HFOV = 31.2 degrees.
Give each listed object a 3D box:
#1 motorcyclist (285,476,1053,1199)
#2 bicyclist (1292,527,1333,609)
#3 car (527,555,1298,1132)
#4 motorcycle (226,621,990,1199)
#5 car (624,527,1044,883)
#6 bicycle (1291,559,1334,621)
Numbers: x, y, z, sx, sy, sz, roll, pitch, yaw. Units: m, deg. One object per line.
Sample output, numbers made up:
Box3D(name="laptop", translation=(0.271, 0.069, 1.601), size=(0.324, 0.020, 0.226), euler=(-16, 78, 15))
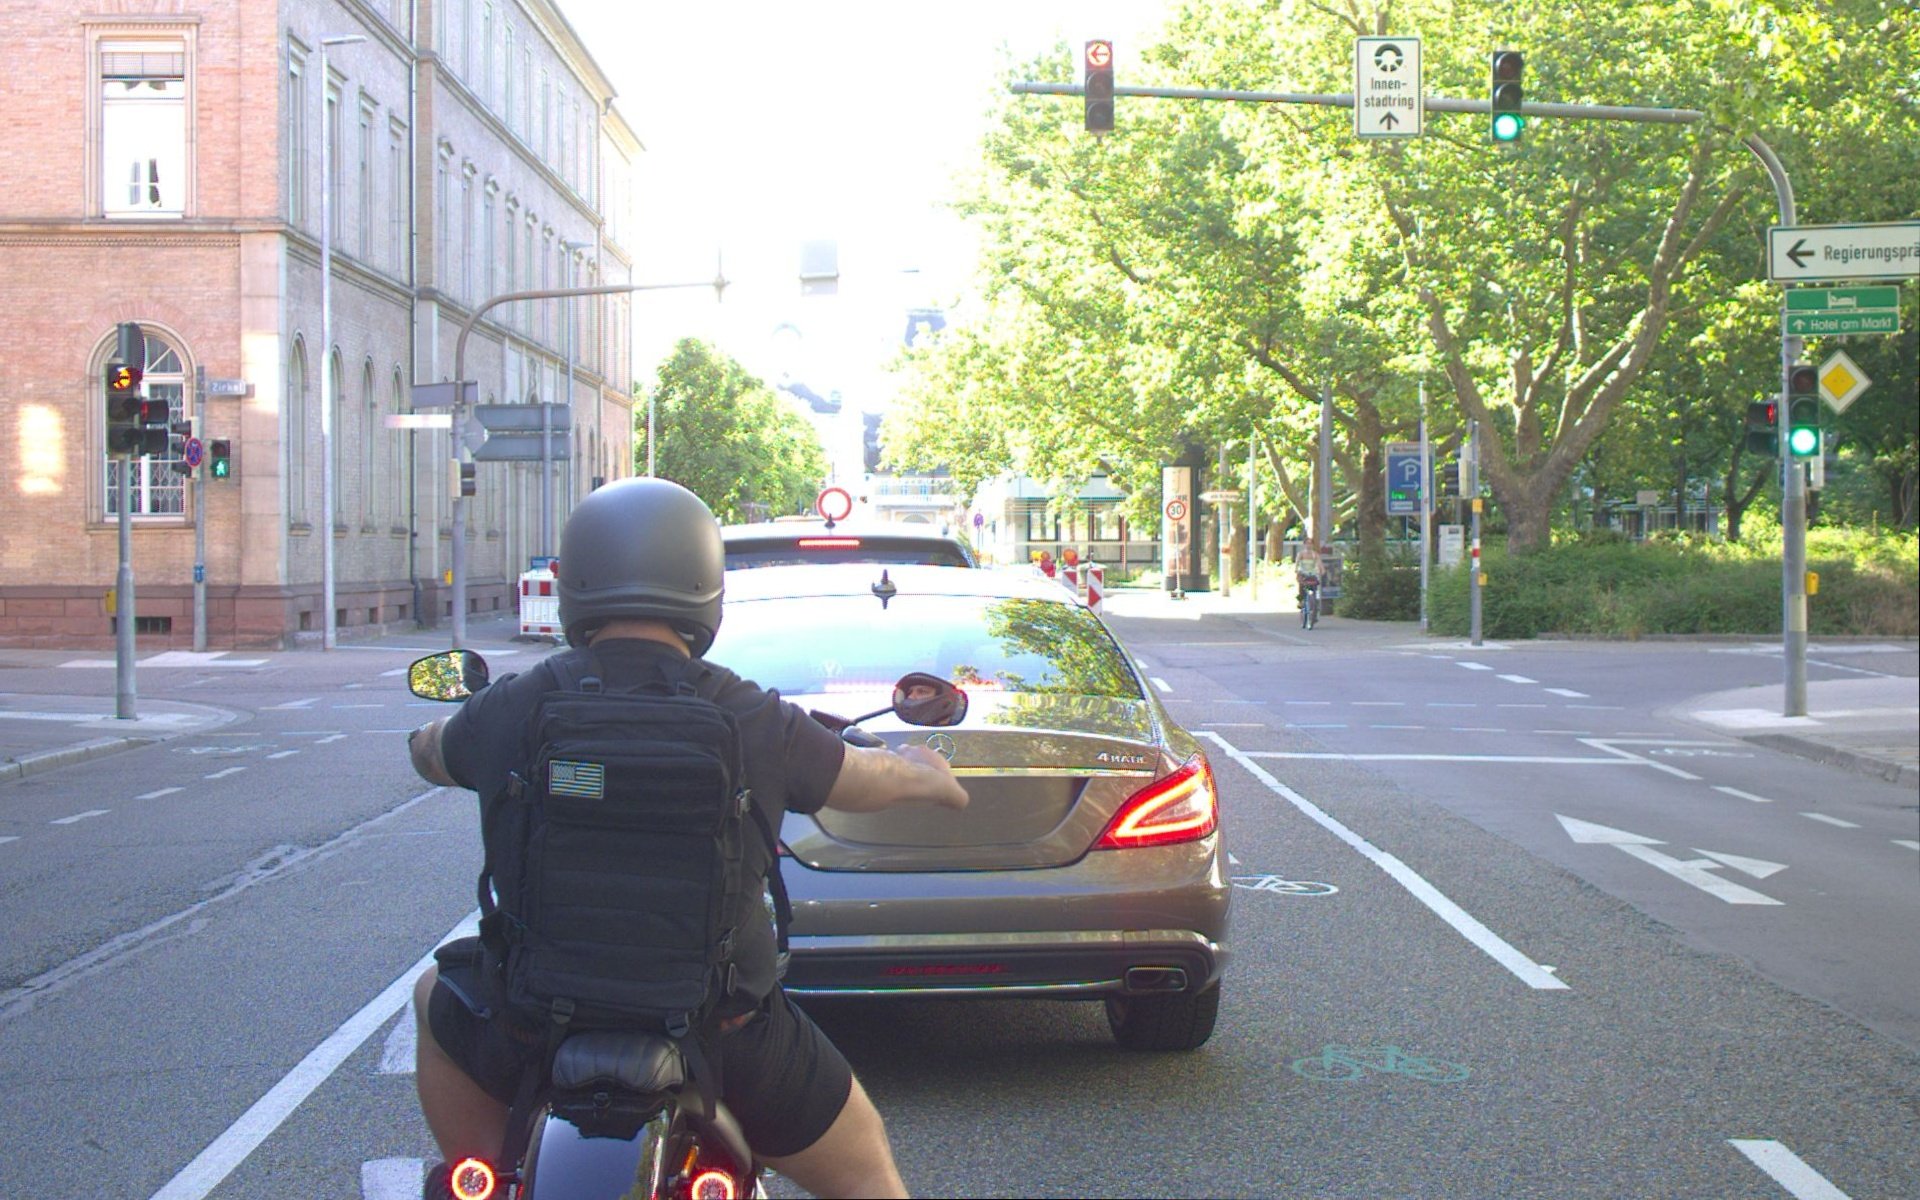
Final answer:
Box3D(name="motorcyclist", translation=(-0.416, 0.618, 5.265), size=(1.061, 1.577, 0.908), euler=(1, 0, -1))
Box3D(name="bicyclist", translation=(6.824, -0.623, 66.563), size=(0.716, 1.577, 0.936), euler=(1, 0, 3))
Box3D(name="car", translation=(-0.372, 0.588, 10.956), size=(1.901, 1.436, 4.290), euler=(0, 1, -8))
Box3D(name="motorcycle", translation=(-0.466, 0.736, 5.537), size=(0.962, 1.352, 2.320), euler=(1, 1, -1))
Box3D(name="car", translation=(-0.647, 0.416, 16.768), size=(1.813, 1.530, 3.849), euler=(0, 1, -3))
Box3D(name="bicycle", translation=(6.826, -0.201, 66.724), size=(0.716, 1.168, 2.176), euler=(1, 1, 3))
